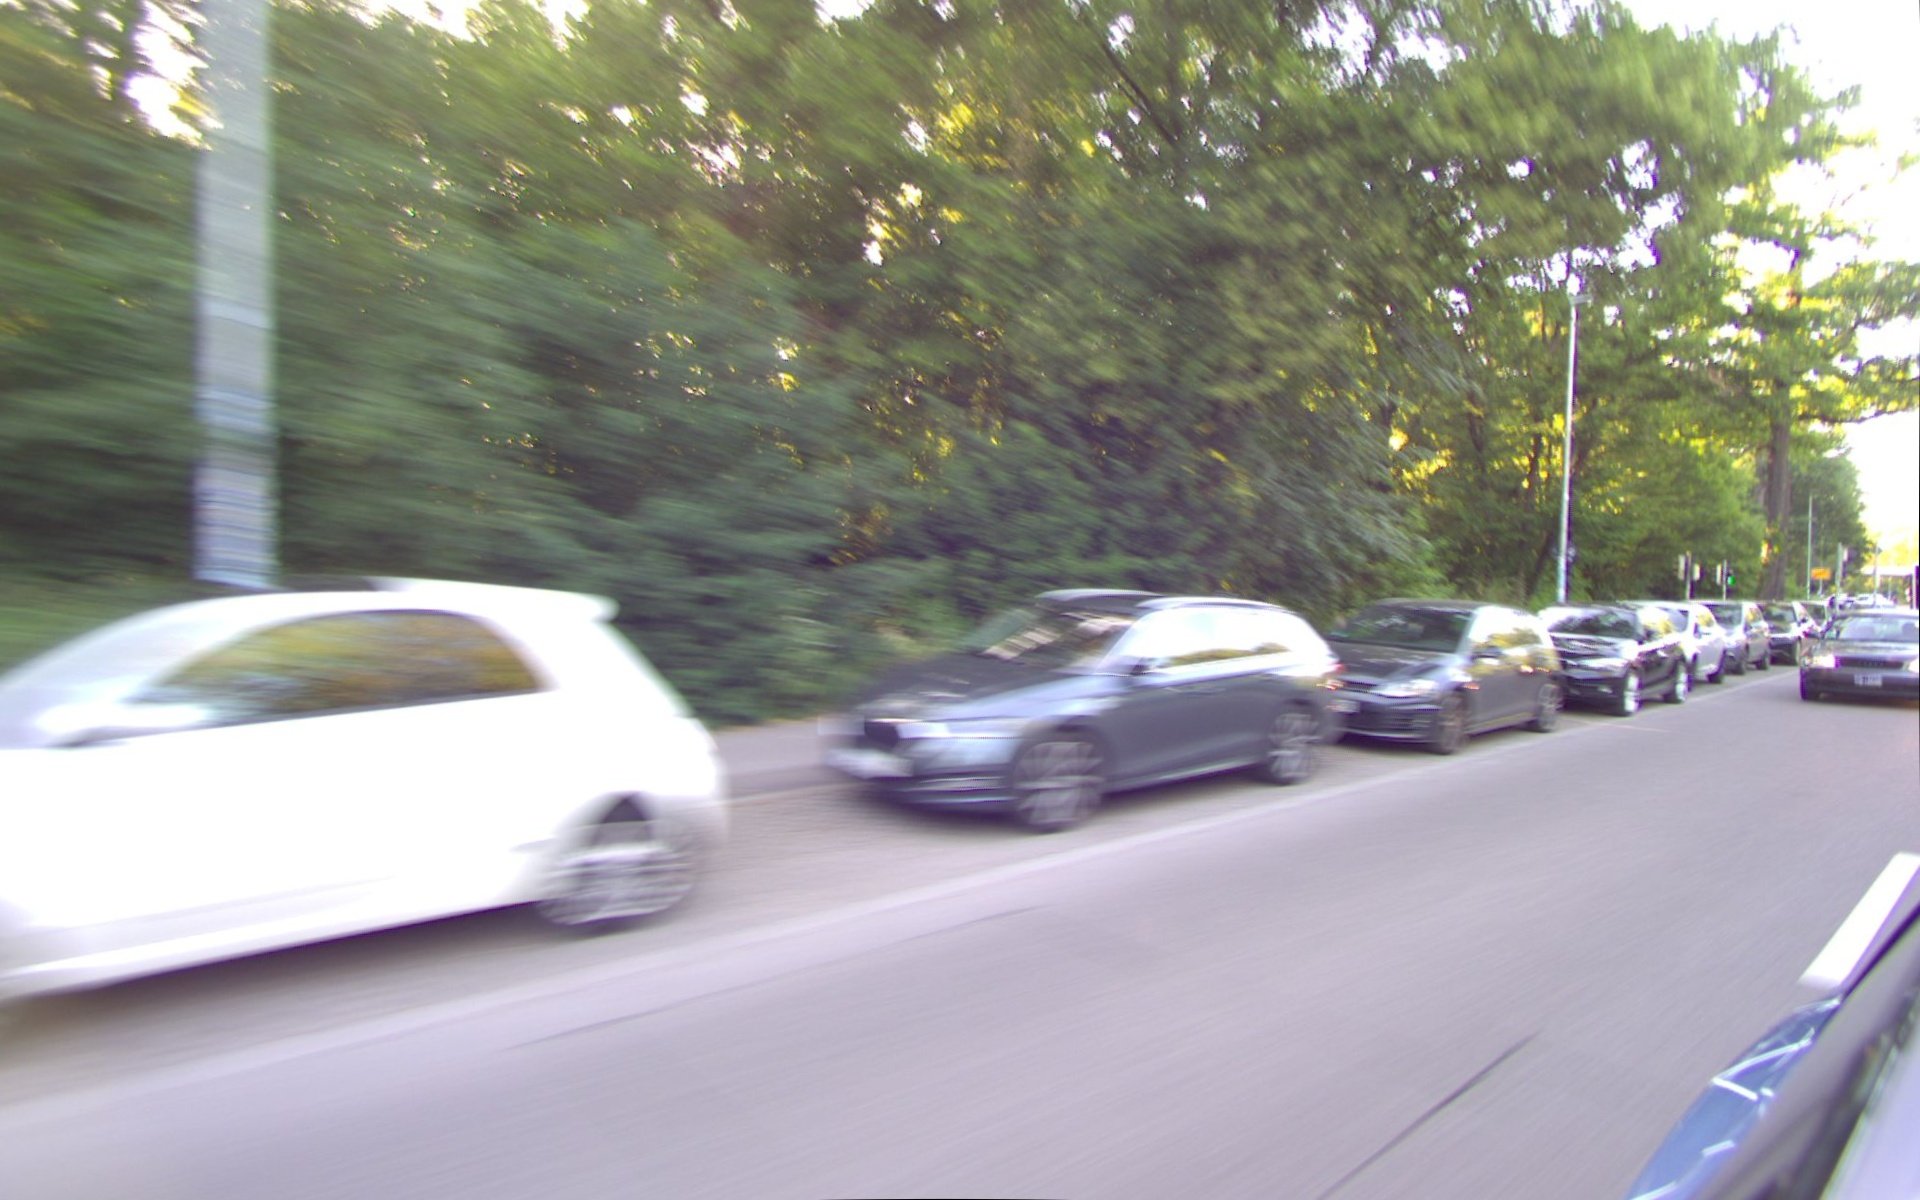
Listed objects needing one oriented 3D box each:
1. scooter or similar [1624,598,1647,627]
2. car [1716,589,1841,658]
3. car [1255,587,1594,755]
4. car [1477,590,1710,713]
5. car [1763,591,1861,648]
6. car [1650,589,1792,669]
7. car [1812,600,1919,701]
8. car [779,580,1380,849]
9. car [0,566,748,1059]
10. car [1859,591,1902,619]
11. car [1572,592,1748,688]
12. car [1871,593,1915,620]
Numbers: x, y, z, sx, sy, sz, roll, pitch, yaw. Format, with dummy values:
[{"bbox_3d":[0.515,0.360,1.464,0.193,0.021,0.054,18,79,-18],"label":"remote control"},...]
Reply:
[{"bbox_3d":[27.324,0.498,40.923,1.201,1.158,0.379,0,1,-38],"label":"scooter or similar"},{"bbox_3d":[20.432,0.496,25.190,4.904,1.487,1.720,-1,3,-43],"label":"car"},{"bbox_3d":[5.218,0.602,11.080,4.410,1.429,1.721,-1,3,-41],"label":"car"},{"bbox_3d":[9.152,0.604,14.457,4.412,1.429,1.720,-1,3,-43],"label":"car"},{"bbox_3d":[24.951,0.523,29.615,3.693,1.487,1.720,-1,3,-43],"label":"car"},{"bbox_3d":[16.419,0.534,21.760,4.132,1.487,1.720,-1,3,-43],"label":"car"},{"bbox_3d":[14.641,0.712,15.720,3.926,1.376,1.676,0,1,-43],"label":"car"},{"bbox_3d":[1.171,0.592,7.744,4.820,1.429,1.722,-1,3,-40],"label":"car"},{"bbox_3d":[-2.913,0.624,4.195,3.623,1.482,1.681,-1,3,-40],"label":"car"},{"bbox_3d":[53.102,0.264,58.445,1.717,1.487,3.816,3,3,41],"label":"car"},{"bbox_3d":[12.471,0.619,17.942,4.055,1.429,1.720,-1,3,-43],"label":"car"},{"bbox_3d":[57.334,0.393,62.145,1.763,1.487,5.034,3,3,45],"label":"car"}]
